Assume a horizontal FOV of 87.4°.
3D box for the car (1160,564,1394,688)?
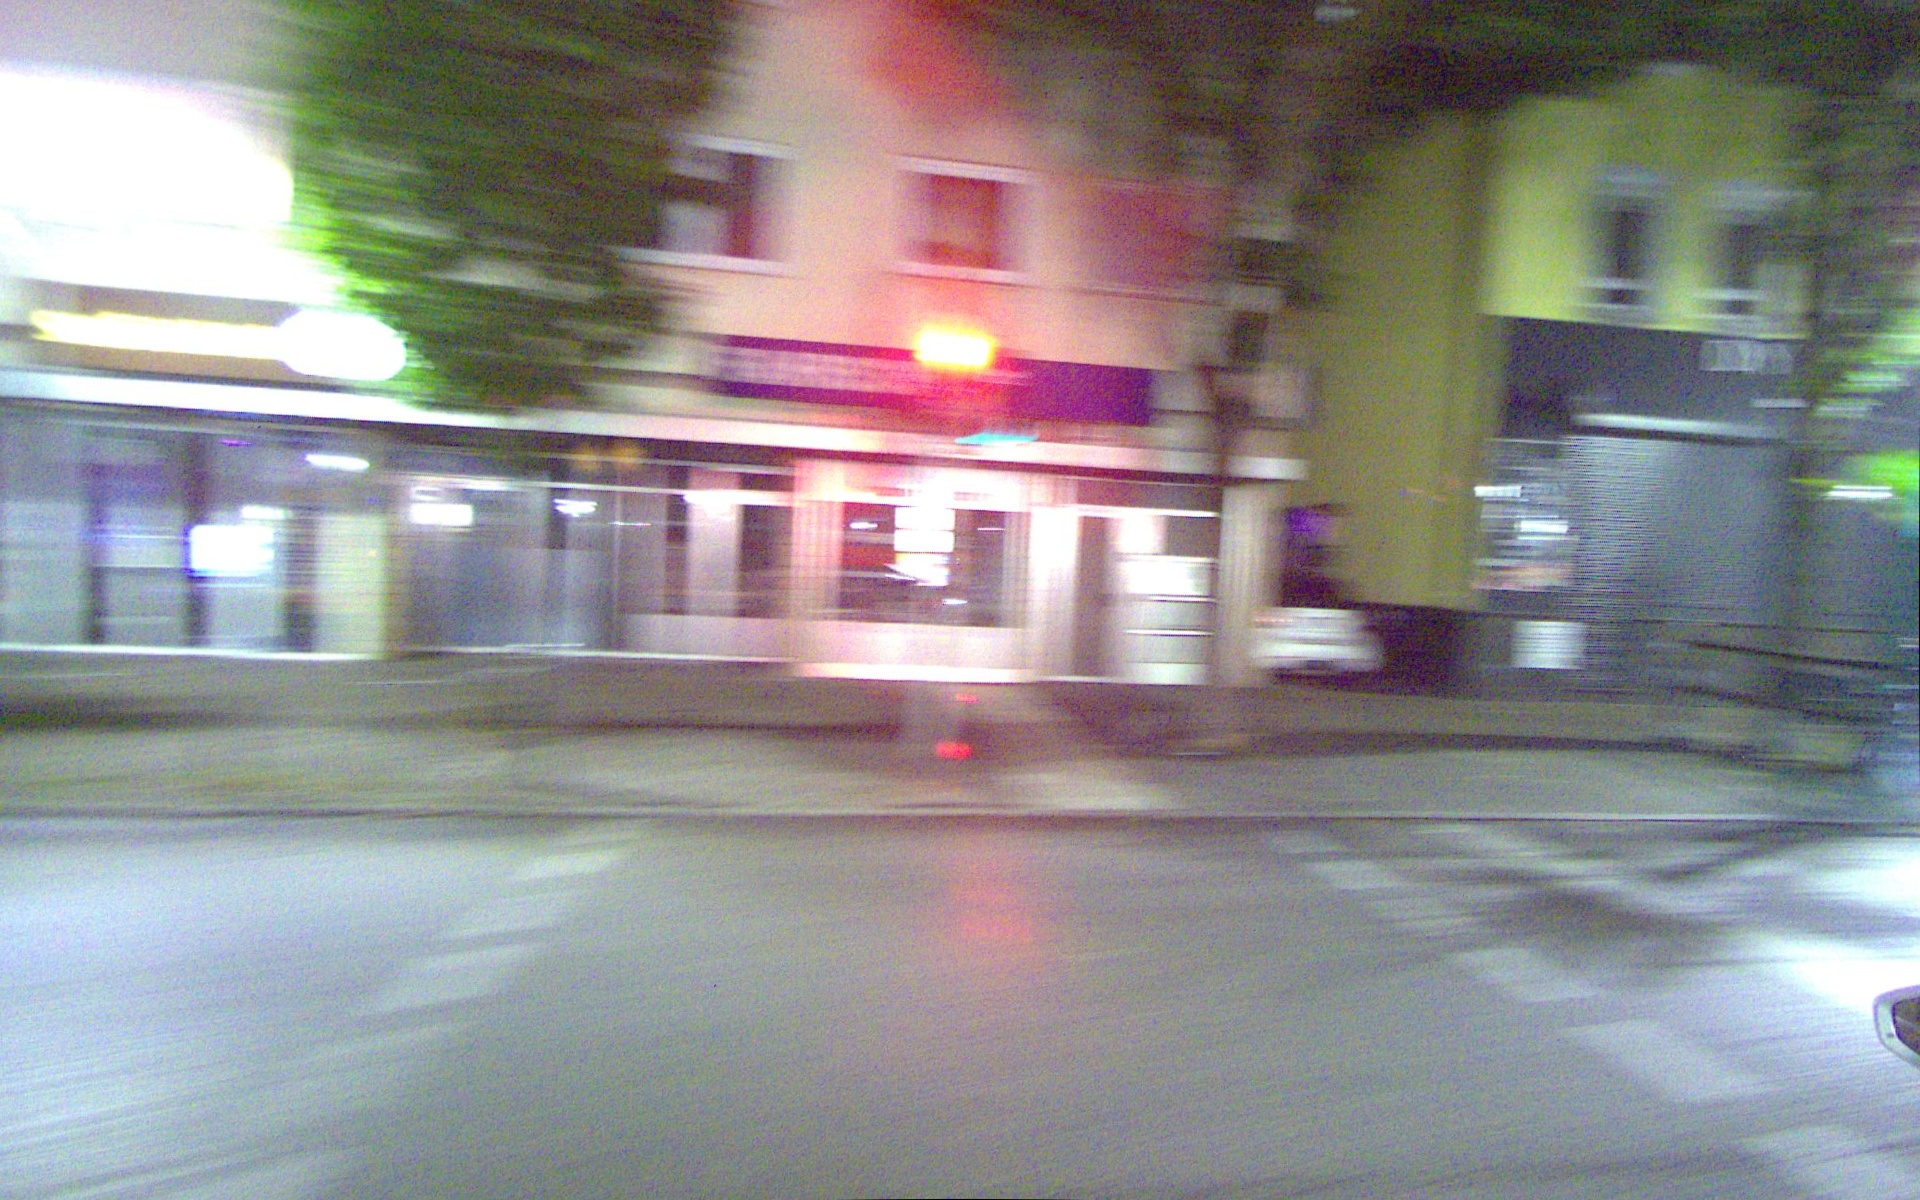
[{"bbox_3d":[4.586,0.278,15.234,1.786,1.547,3.994,2,2,-8],"label":"car"}]
